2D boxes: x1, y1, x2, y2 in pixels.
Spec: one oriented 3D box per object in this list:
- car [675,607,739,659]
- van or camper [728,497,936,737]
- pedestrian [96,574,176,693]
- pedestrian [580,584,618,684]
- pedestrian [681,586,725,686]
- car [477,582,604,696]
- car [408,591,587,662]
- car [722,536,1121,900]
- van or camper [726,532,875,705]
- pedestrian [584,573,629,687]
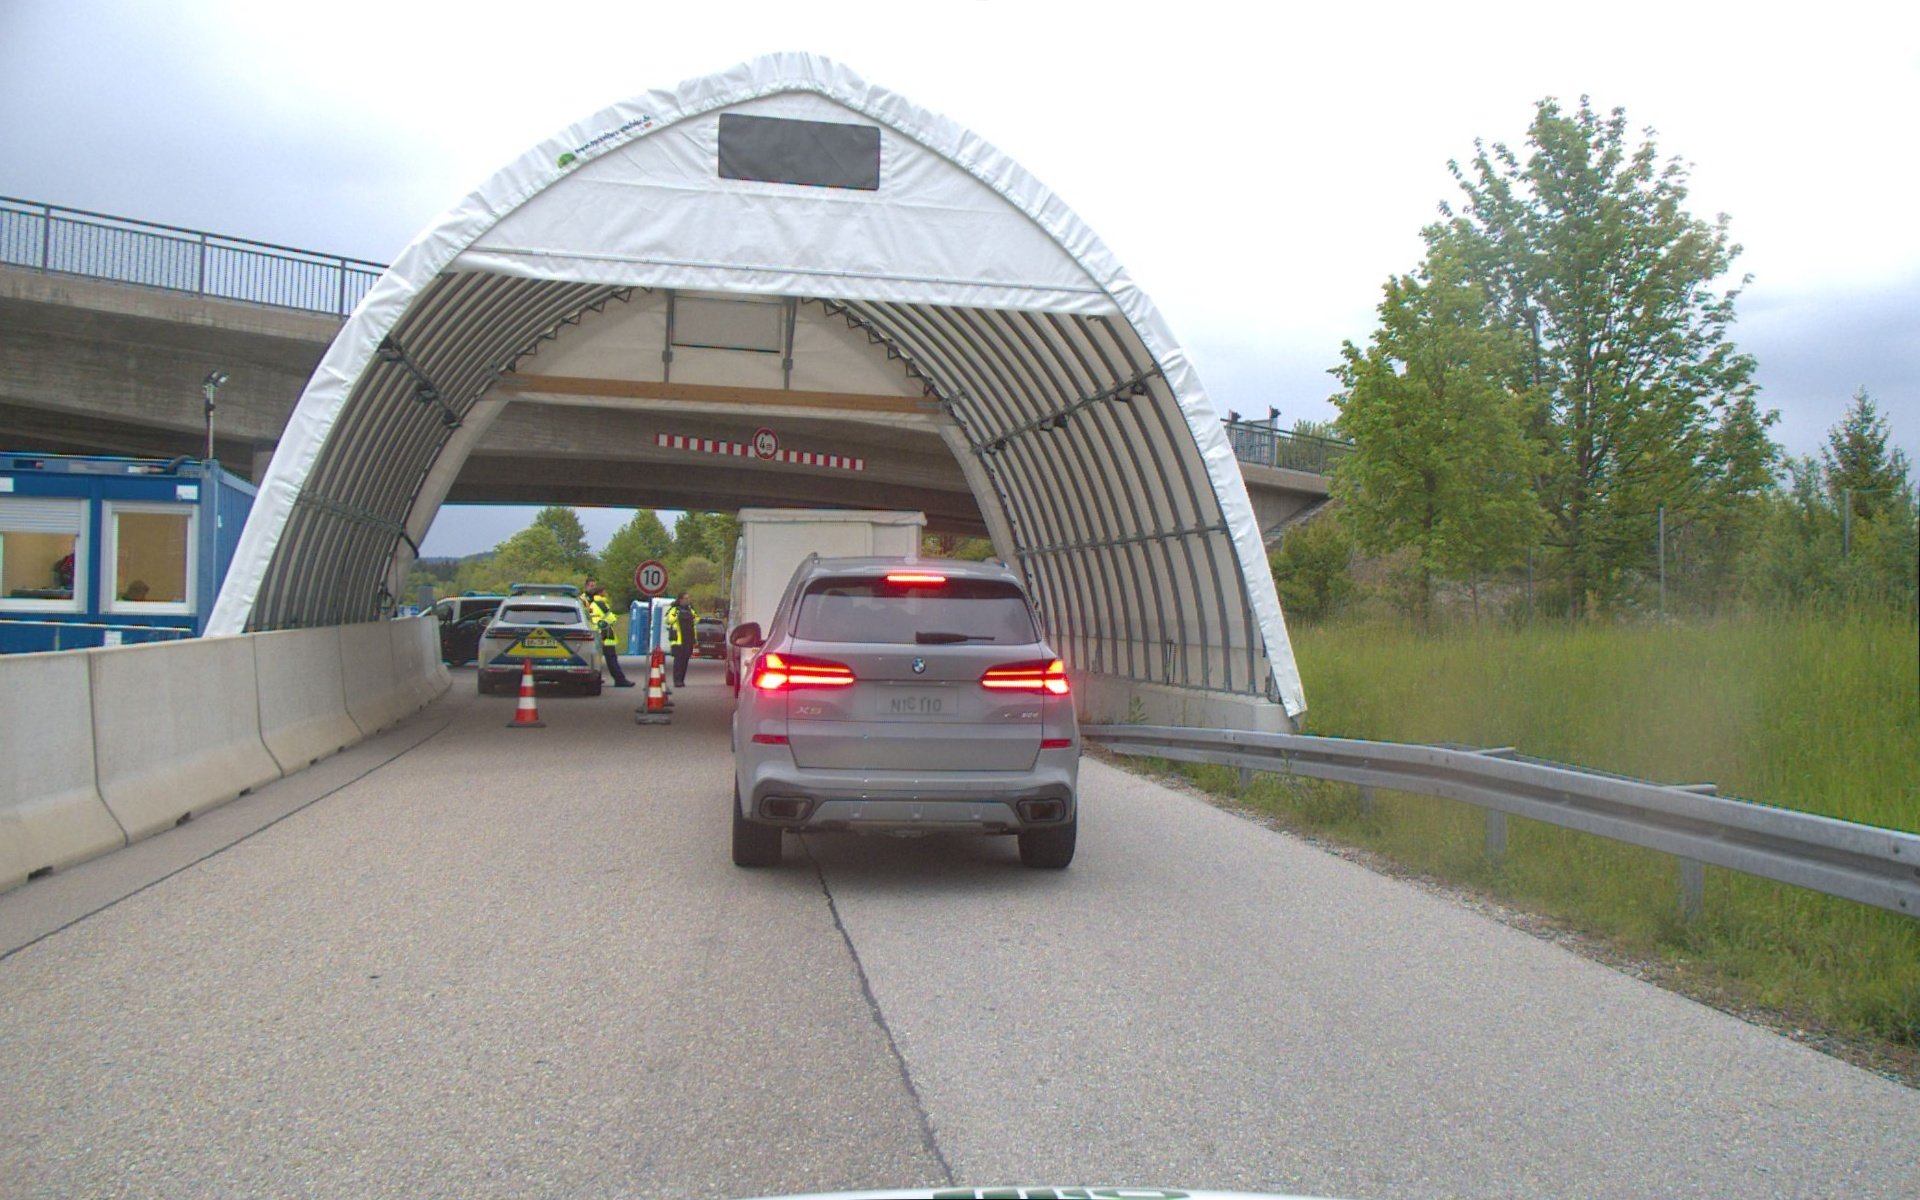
[{"bbox_3d":[-8.986,1.135,58.486,1.959,1.752,3.883,0,0,-13],"label":"car"},{"bbox_3d":[-1.851,0.203,21.364,2.189,2.597,6.597,0,0,-9],"label":"van or camper"},{"bbox_3d":[-9.846,0.393,19.780,0.597,1.397,0.628,0,-1,8],"label":"pedestrian"},{"bbox_3d":[-6.515,0.611,29.903,0.597,1.784,0.665,0,-1,-6],"label":"pedestrian"},{"bbox_3d":[-4.584,0.631,29.525,0.765,1.752,0.755,0,-1,-8],"label":"pedestrian"},{"bbox_3d":[-6.754,0.590,26.629,1.846,1.675,3.984,0,0,-15],"label":"car"},{"bbox_3d":[-13.590,0.768,48.720,4.703,2.049,1.842,0,-1,7],"label":"car"},{"bbox_3d":[-0.458,0.595,10.317,1.957,1.796,3.991,0,0,-9],"label":"car"},{"bbox_3d":[-2.760,0.300,27.425,2.065,2.563,5.538,0,0,-10],"label":"van or camper"},{"bbox_3d":[-6.170,0.519,28.824,0.736,1.952,0.760,0,-1,-15],"label":"pedestrian"}]
